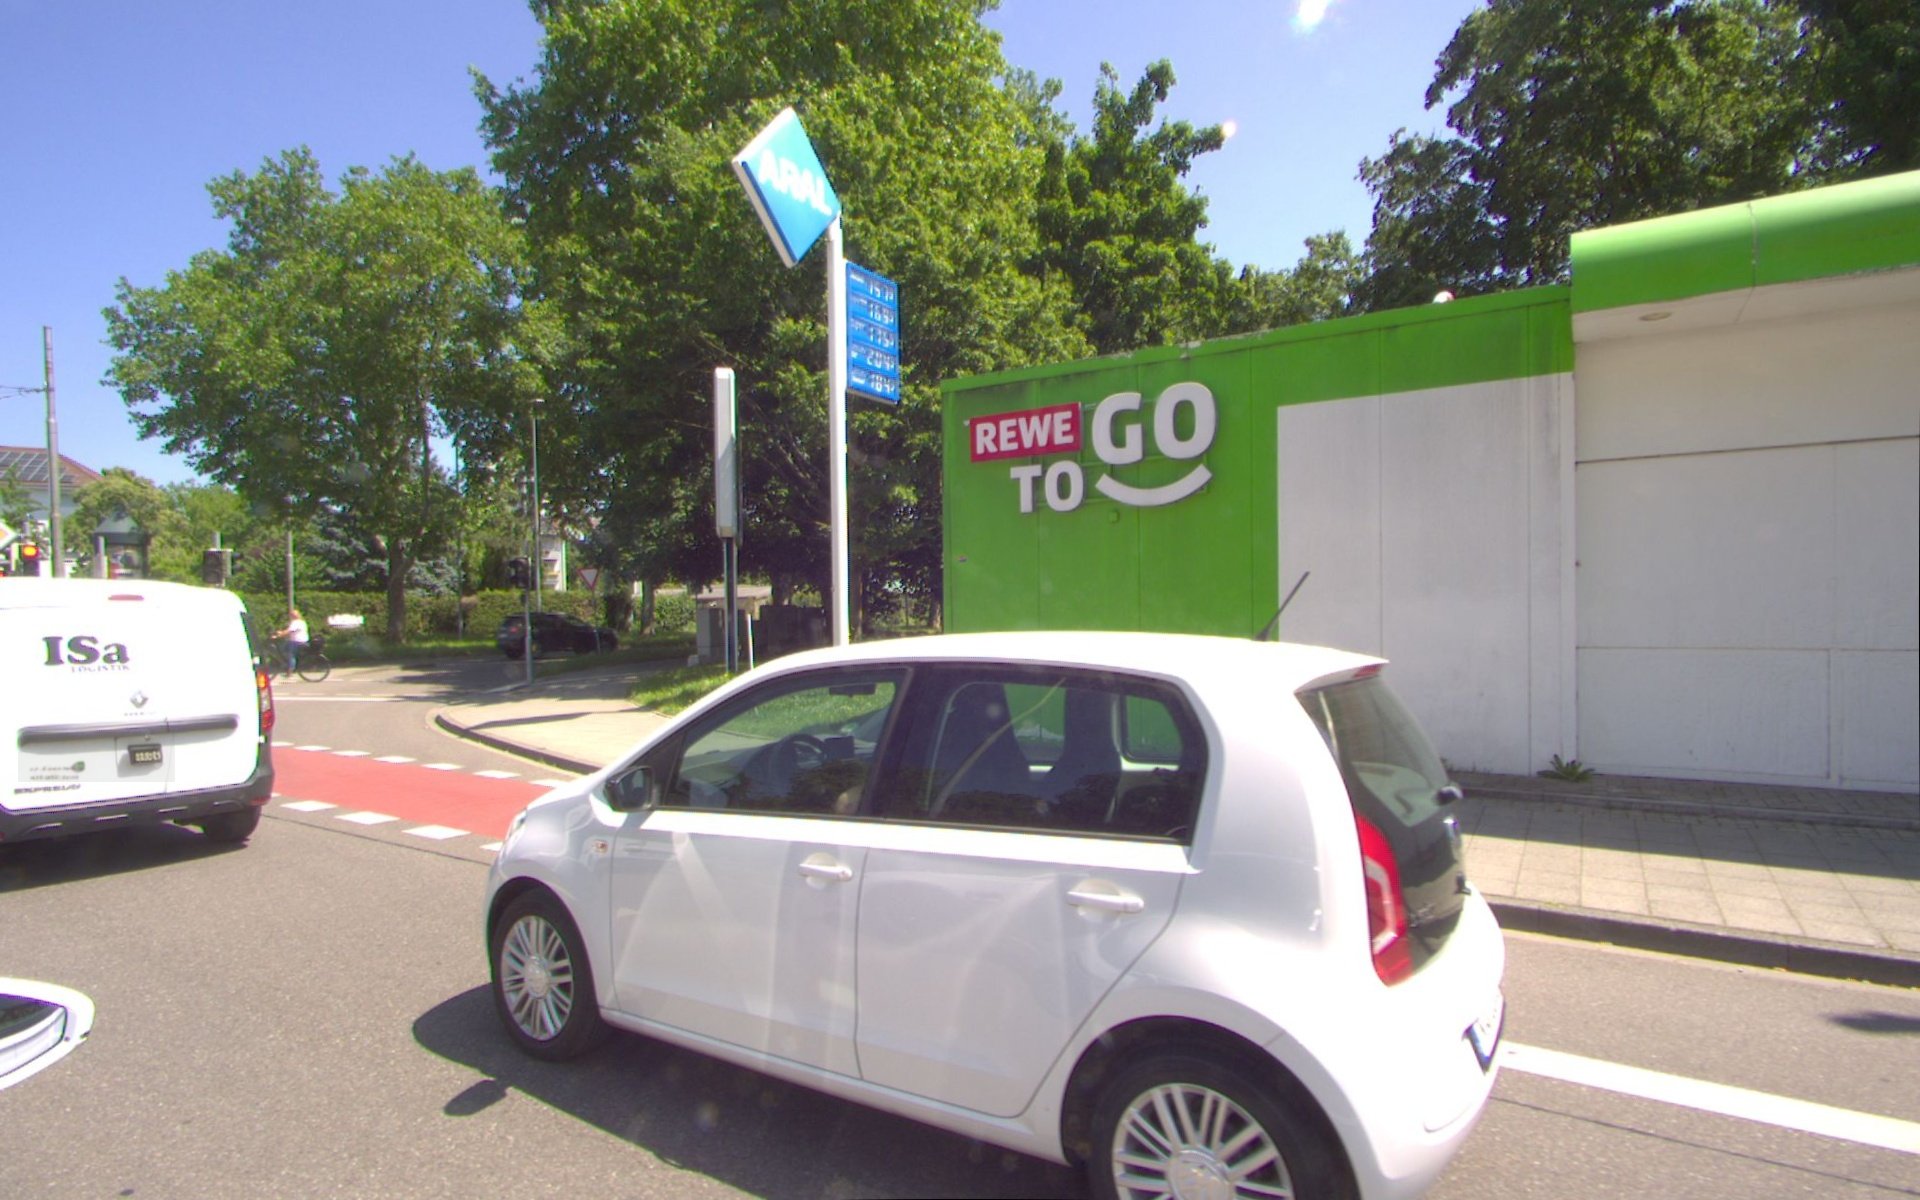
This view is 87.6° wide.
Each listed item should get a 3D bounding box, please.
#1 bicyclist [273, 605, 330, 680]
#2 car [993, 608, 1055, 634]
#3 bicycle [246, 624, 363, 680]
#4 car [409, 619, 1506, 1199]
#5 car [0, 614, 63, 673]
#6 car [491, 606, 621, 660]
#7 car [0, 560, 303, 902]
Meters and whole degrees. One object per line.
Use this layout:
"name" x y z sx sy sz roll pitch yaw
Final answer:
"bicyclist" -16.007 1.006 24.362 0.942 1.762 1.128 -1 0 -23
"car" 4.251 1.356 66.119 1.974 1.638 4.425 -1 -1 37
"bicycle" -15.936 1.242 24.409 2.232 1.285 0.884 0 0 -23
"car" -0.161 0.816 3.436 3.472 1.470 1.604 -1 -2 33
"car" -27.143 1.181 26.620 4.634 1.545 1.987 0 0 -35
"car" -14.804 1.171 36.847 1.977 1.884 3.968 -1 0 41
"car" -6.562 0.741 7.039 3.954 1.854 1.707 -1 0 31
